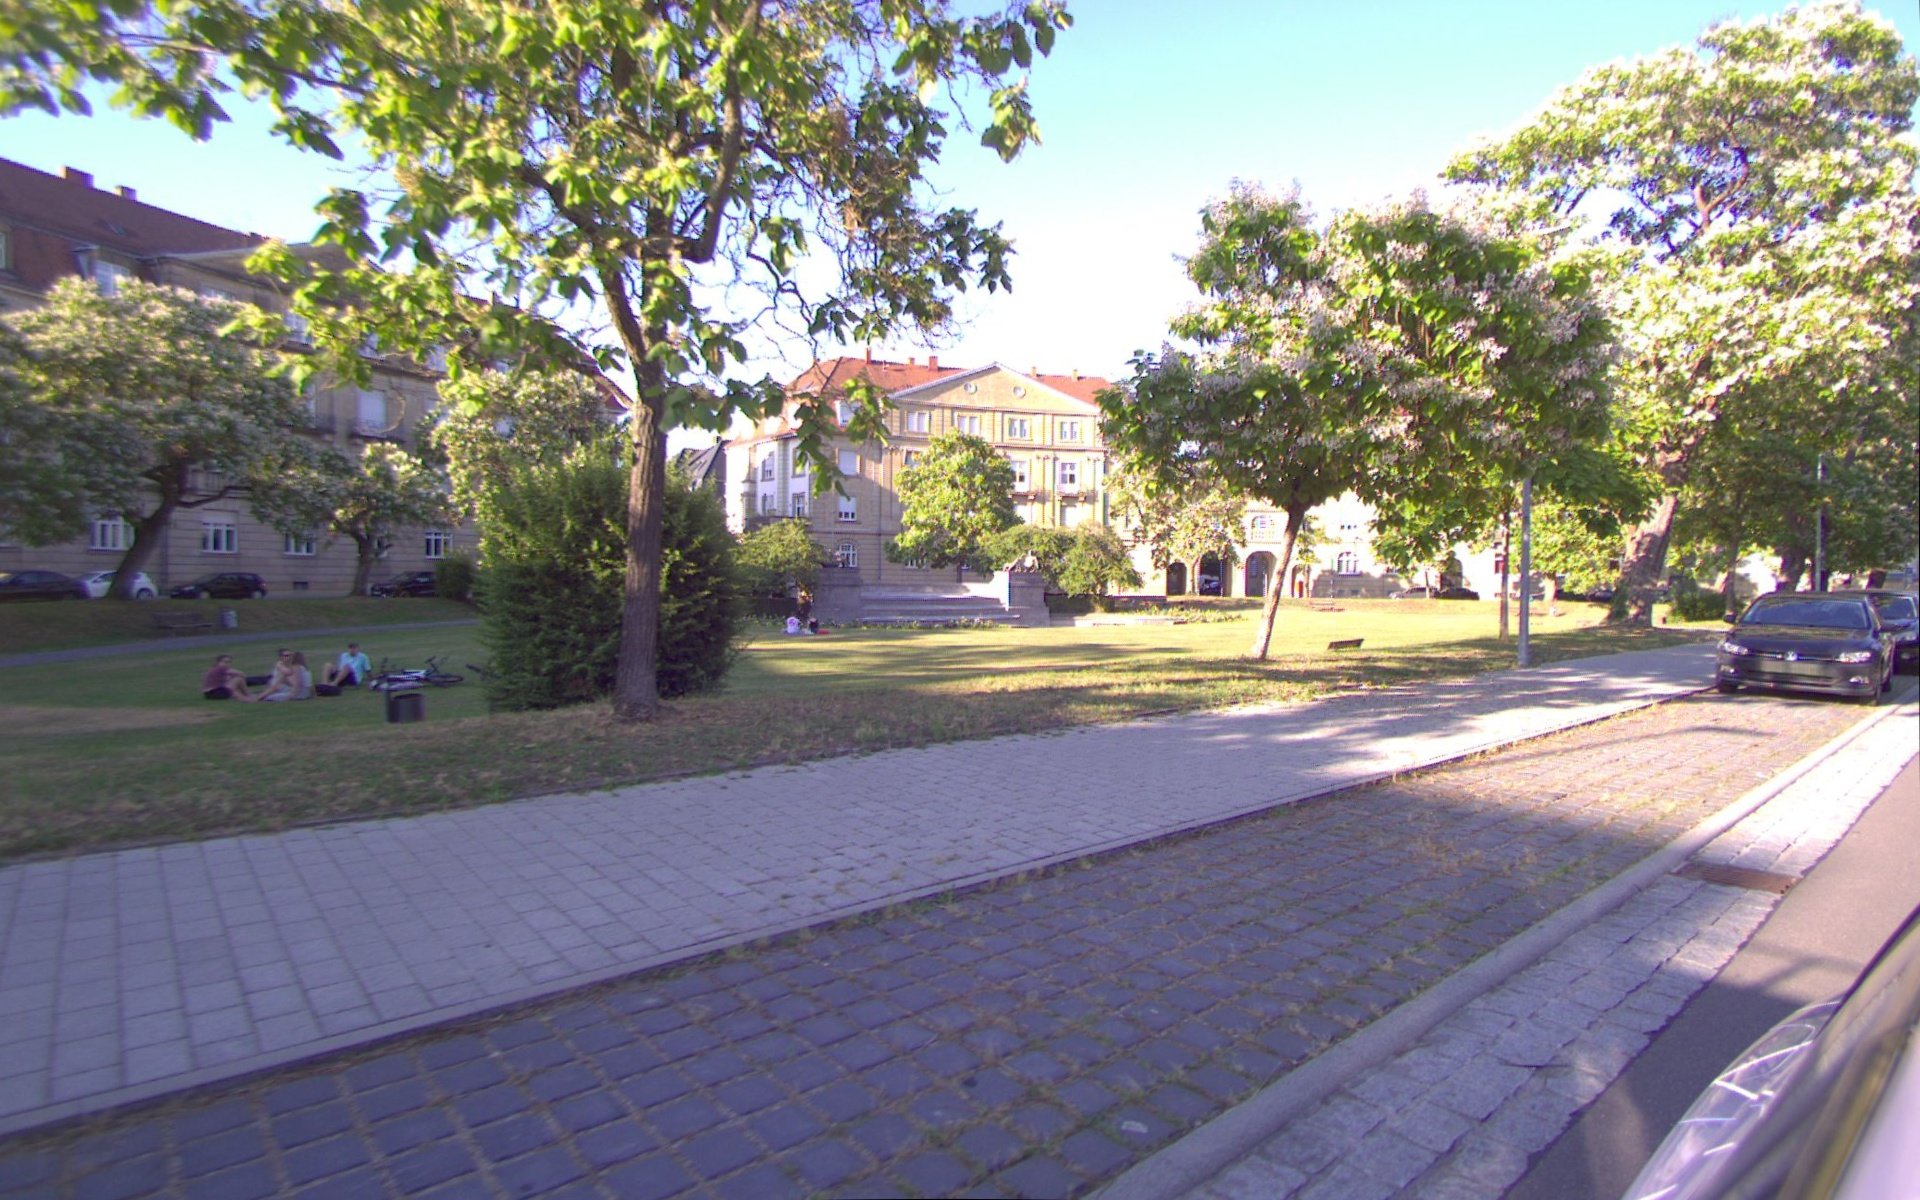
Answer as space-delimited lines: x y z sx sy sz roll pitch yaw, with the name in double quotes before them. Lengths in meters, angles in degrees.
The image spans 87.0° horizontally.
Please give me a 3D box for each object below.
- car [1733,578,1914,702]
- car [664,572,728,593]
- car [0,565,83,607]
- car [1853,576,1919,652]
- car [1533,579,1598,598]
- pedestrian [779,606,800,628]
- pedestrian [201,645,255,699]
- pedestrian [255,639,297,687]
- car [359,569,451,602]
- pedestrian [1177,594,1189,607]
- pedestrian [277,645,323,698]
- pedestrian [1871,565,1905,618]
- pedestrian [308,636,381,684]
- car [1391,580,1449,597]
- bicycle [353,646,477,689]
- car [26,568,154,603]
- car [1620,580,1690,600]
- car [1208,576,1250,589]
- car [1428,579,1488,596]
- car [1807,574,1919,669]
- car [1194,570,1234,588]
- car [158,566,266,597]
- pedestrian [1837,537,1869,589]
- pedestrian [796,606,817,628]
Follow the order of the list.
"car" 12.363 0.446 14.394 4.181 1.482 1.627 -2 2 -45
"car" -18.533 -1.254 71.100 4.024 1.435 1.817 -1 2 -41
"car" -34.385 -0.523 36.219 1.850 1.471 4.355 1 2 10
"car" 21.716 0.266 22.861 4.201 1.570 1.735 -1 2 -41
"car" 49.149 -0.942 82.225 4.393 1.435 1.553 1 2 26
"pedestrian" -6.443 0.642 38.287 0.655 0.804 0.586 0 1 6
"pedestrian" -12.375 1.204 17.104 0.711 0.823 0.612 0 0 -40
"pedestrian" -12.488 1.148 18.473 0.601 0.823 0.473 0 0 -40
"car" -29.593 -0.762 54.088 1.976 1.727 3.973 0 1 21
"pedestrian" 15.522 0.009 70.422 0.663 0.892 0.579 0 0 -3
"pedestrian" -11.141 1.200 17.076 0.601 0.823 0.473 0 0 -40
"pedestrian" 30.951 -0.284 33.761 0.719 1.758 0.754 0 0 -41
"pedestrian" -11.637 1.128 19.183 0.563 0.823 1.258 0 0 4
"car" 39.229 -0.995 86.345 4.316 1.435 1.808 1 2 20
"bicycle" -10.326 1.273 19.310 1.774 0.622 1.775 0 1 -17
"car" -38.742 -0.674 45.183 1.855 1.471 3.979 1 2 17
"car" 54.450 -0.823 79.398 4.328 1.435 1.827 1 2 29
"car" 30.412 -1.961 114.498 4.283 1.435 1.822 0 2 -6
"car" 44.657 -1.114 90.798 4.588 1.435 1.810 1 2 18
"car" 17.166 0.313 18.730 4.348 1.570 1.734 -1 2 -43
"car" 30.299 -2.518 120.777 4.285 2.134 1.821 0 1 -3
"car" -37.212 -0.937 50.437 1.859 1.471 3.971 1 2 22
"pedestrian" 30.970 -1.274 35.101 0.719 1.758 0.726 0 0 -41
"pedestrian" -5.776 0.648 38.192 0.655 0.804 0.586 0 1 6
